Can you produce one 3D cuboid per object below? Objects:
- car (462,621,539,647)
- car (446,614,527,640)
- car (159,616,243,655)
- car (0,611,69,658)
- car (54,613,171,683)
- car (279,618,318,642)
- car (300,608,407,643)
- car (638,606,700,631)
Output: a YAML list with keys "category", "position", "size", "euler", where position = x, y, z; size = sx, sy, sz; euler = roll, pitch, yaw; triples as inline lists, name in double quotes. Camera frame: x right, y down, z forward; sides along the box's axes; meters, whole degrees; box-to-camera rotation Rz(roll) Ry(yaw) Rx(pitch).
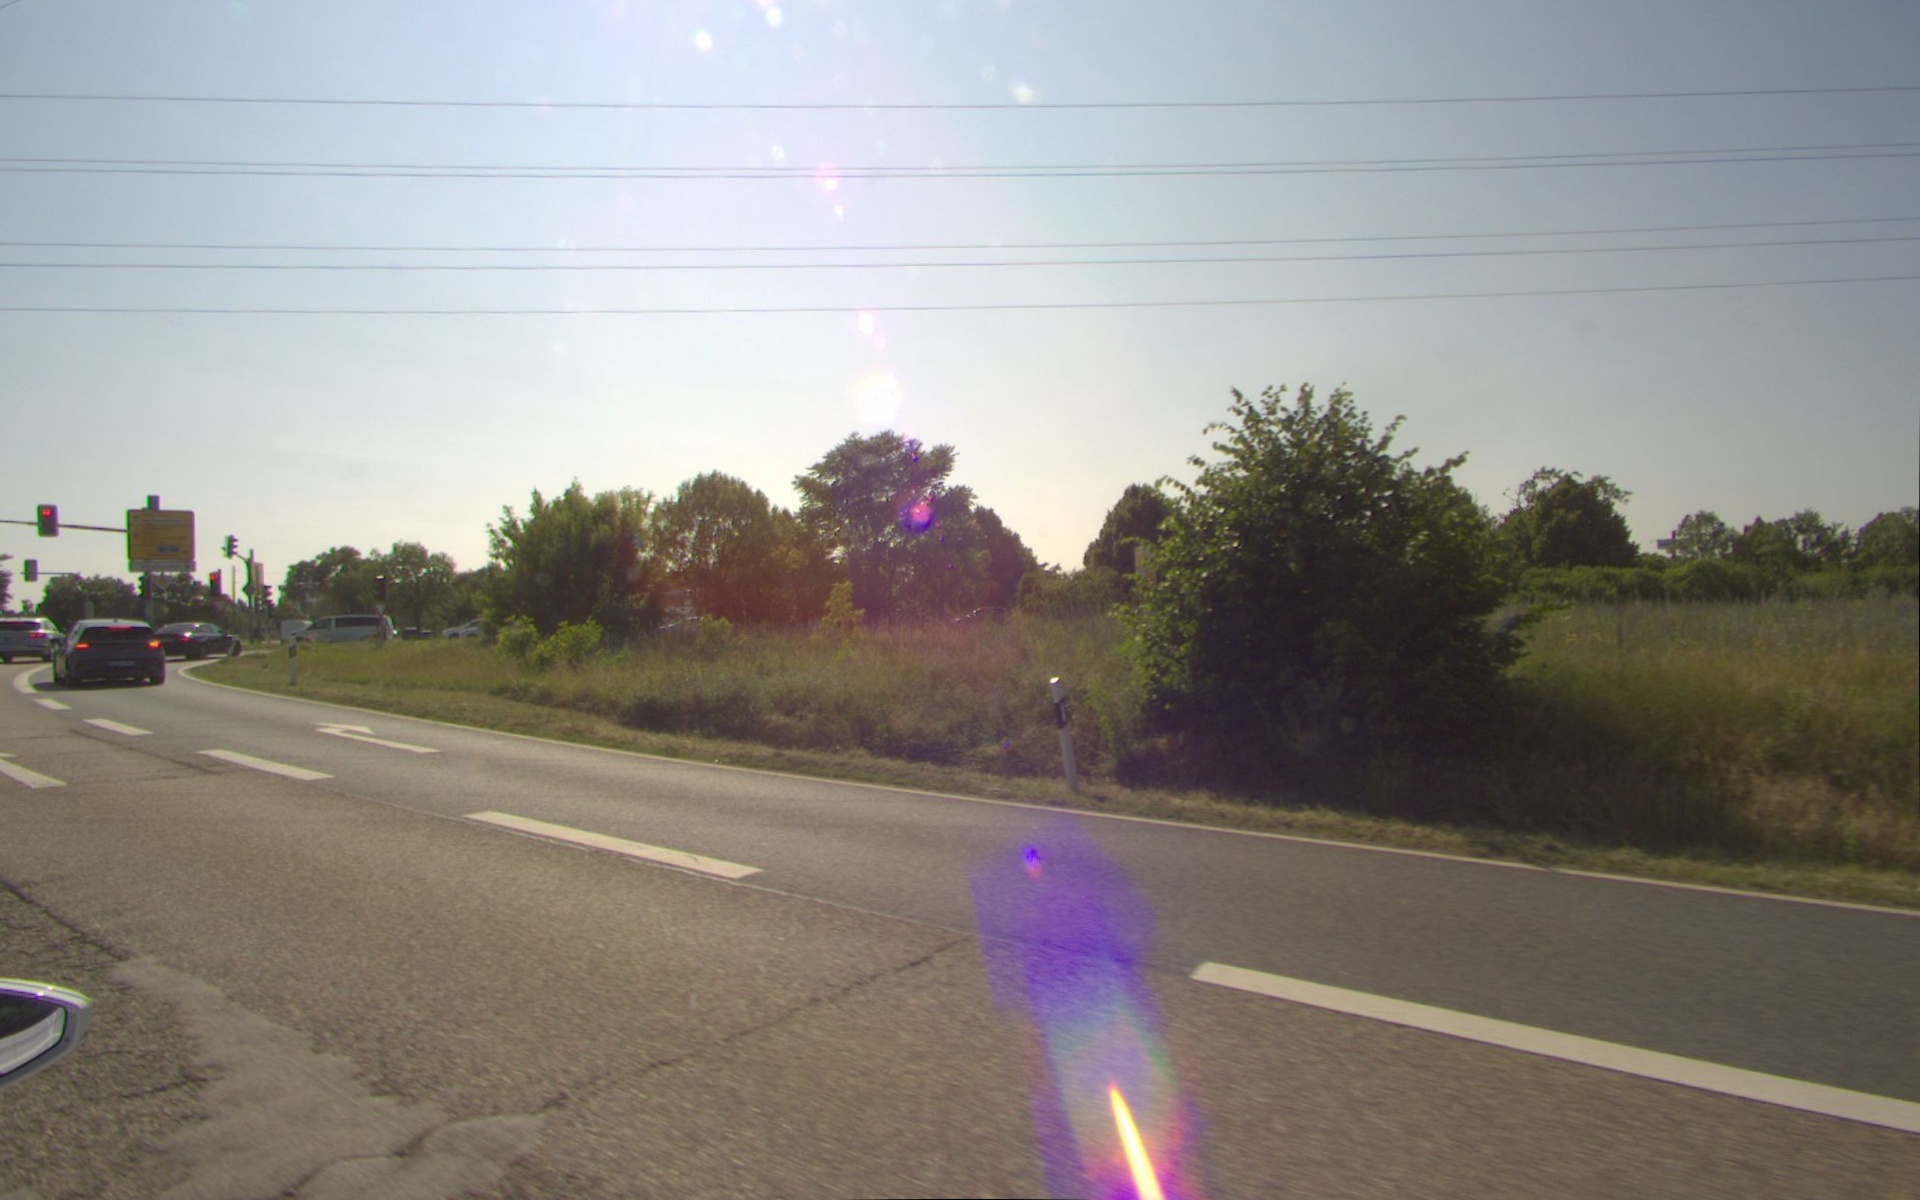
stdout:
- category: "car"
  position: [-26.961, 1.981, 58.866]
  size: [3.842, 1.484, 1.721]
  euler: [0, -1, -16]
- category: "car"
  position: [-29.298, 1.654, 62.051]
  size: [4.258, 1.539, 1.805]
  euler: [-1, -1, -17]
- category: "car"
  position: [-29.764, 1.346, 39.381]
  size: [1.619, 1.404, 3.987]
  euler: [-1, 0, -22]
- category: "car"
  position: [-34.933, 1.287, 37.712]
  size: [1.617, 1.698, 3.725]
  euler: [1, -2, -35]
- category: "car"
  position: [-20.639, 1.097, 24.330]
  size: [4.056, 1.537, 1.762]
  euler: [0, 0, 44]
- category: "car"
  position: [-61.463, 2.806, 93.096]
  size: [1.903, 2.164, 4.631]
  euler: [1, -2, -20]
- category: "car"
  position: [-34.600, 1.469, 57.253]
  size: [4.860, 1.943, 1.997]
  euler: [1, -1, -17]
- category: "car"
  position: [-18.833, 1.180, 64.921]
  size: [3.811, 1.539, 1.805]
  euler: [-1, -1, -16]
